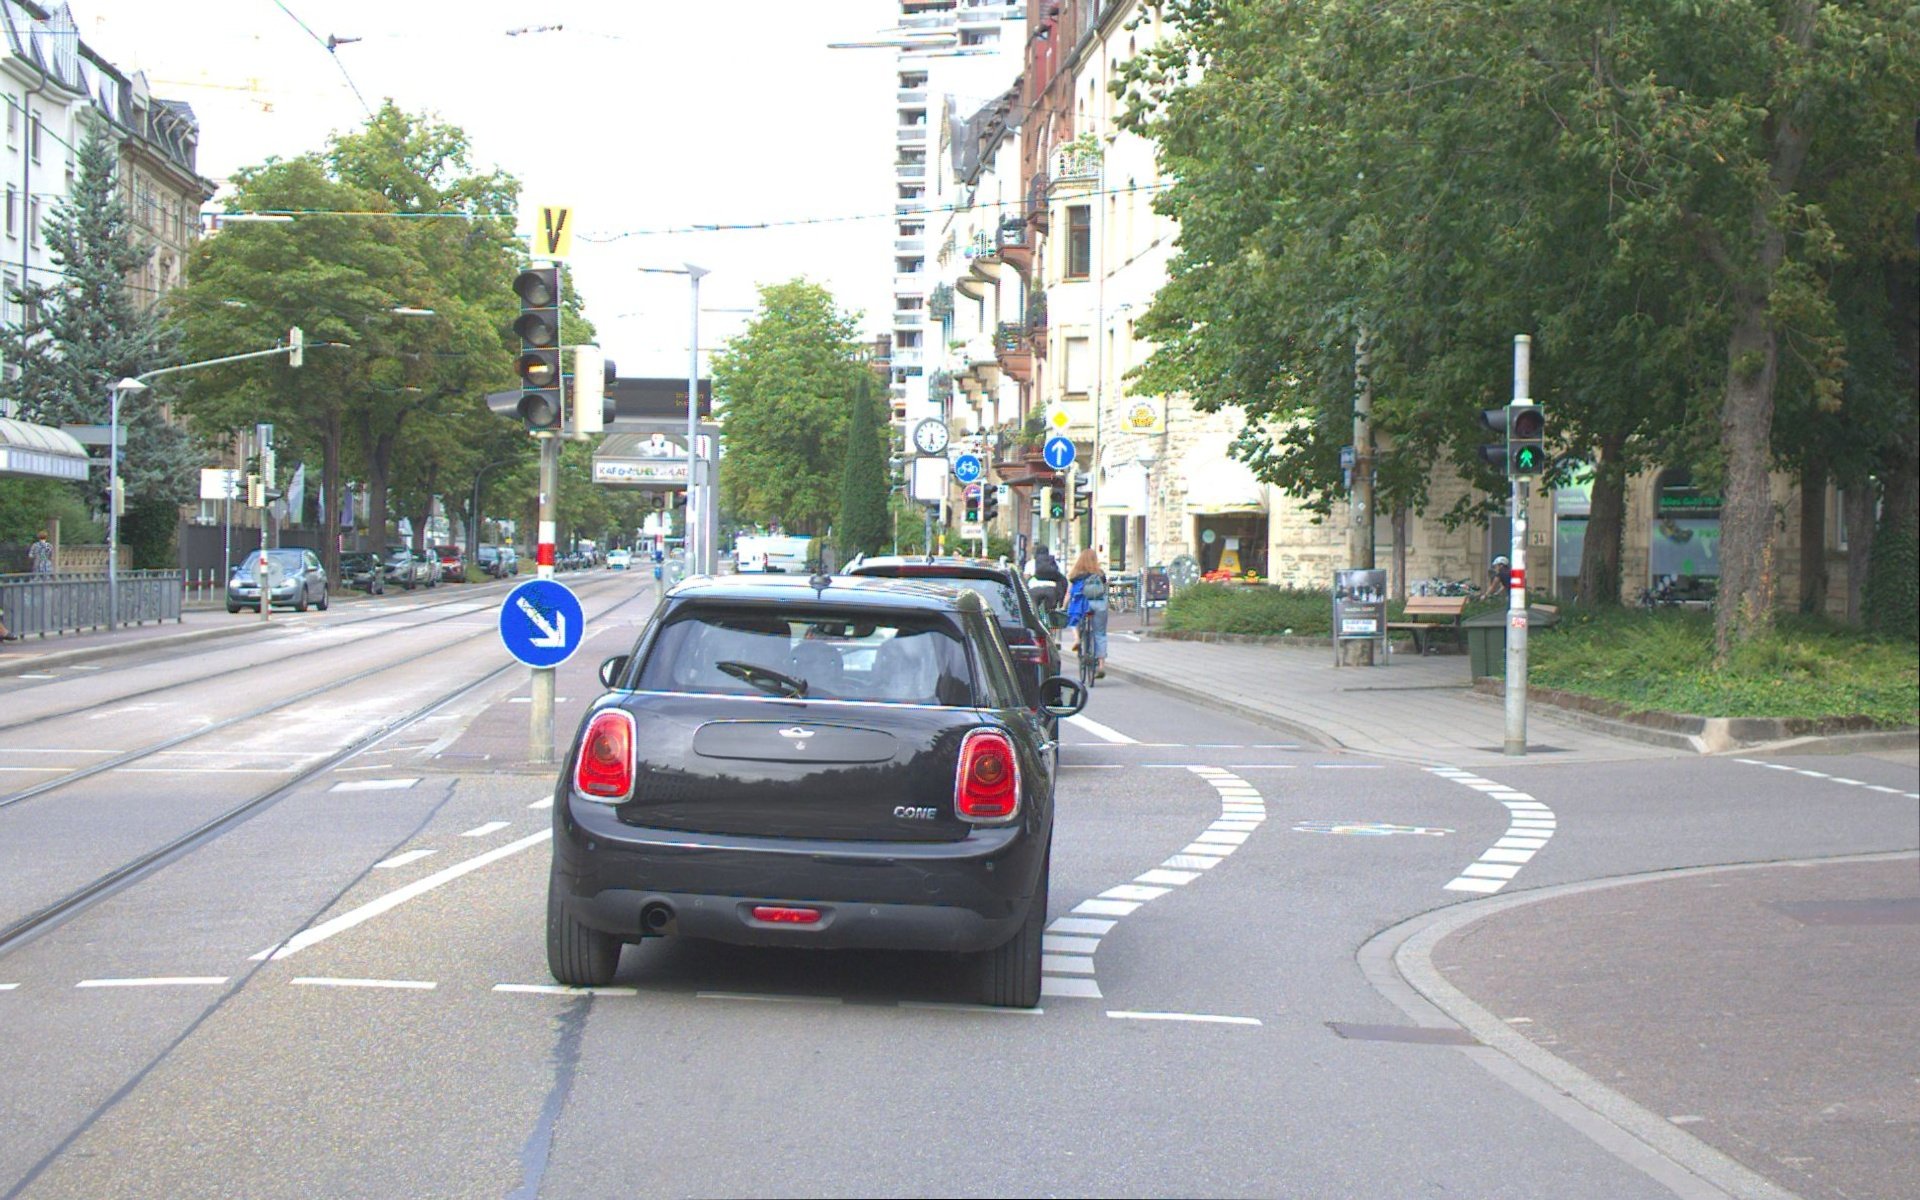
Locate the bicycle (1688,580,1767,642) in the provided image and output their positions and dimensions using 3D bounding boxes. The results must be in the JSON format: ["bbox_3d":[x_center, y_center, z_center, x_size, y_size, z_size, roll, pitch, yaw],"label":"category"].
[{"bbox_3d":[14.217,0.194,63.647,0.667,1.124,1.889,1,1,39],"label":"bicycle"}]

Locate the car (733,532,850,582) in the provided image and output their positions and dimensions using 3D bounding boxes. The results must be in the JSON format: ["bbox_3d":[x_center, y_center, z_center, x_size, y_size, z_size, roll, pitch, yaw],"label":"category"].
[{"bbox_3d":[-7.753,-1.972,158.355,5.026,2.265,2.396,0,1,-44],"label":"car"}]

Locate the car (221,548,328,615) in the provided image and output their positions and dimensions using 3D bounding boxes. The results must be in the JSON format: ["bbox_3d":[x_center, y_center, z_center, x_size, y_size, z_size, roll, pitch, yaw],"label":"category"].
[{"bbox_3d":[-15.864,-0.453,79.690,1.751,1.436,4.000,2,1,-2],"label":"car"}]

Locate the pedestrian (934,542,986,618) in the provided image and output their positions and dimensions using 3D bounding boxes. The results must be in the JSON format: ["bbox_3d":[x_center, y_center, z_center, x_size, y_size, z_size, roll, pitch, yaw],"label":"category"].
[{"bbox_3d":[0.005,-0.461,78.334,0.732,1.668,0.833,-2,2,43],"label":"pedestrian"}]

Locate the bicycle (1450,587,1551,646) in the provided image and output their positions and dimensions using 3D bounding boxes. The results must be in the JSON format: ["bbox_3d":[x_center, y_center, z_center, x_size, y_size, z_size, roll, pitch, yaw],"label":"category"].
[{"bbox_3d":[10.116,0.304,64.432,1.819,1.073,0.615,1,1,42],"label":"bicycle"}]

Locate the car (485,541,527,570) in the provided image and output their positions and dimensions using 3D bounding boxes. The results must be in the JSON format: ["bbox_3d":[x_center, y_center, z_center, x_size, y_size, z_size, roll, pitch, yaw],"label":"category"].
[{"bbox_3d":[-25.236,-2.476,191.079,1.993,1.546,4.001,1,1,-3],"label":"car"}]

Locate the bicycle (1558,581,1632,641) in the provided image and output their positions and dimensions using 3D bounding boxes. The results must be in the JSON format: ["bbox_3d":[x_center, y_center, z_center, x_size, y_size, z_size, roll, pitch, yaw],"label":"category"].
[{"bbox_3d":[12.121,0.196,65.597,0.532,1.124,1.889,1,1,39],"label":"bicycle"}]

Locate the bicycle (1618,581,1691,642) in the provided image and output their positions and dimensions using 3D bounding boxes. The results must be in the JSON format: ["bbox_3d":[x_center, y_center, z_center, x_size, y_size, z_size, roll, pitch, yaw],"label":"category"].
[{"bbox_3d":[13.094,0.213,64.808,0.532,1.124,1.889,1,1,39],"label":"bicycle"}]

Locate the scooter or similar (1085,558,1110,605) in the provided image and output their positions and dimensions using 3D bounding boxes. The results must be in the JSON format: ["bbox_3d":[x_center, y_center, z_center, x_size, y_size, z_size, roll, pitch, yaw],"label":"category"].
[{"bbox_3d":[3.504,-0.473,87.458,0.508,1.184,1.262,0,1,-3],"label":"scooter or similar"}]

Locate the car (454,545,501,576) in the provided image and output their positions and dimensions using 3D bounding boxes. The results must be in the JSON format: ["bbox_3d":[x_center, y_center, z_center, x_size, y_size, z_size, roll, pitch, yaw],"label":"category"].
[{"bbox_3d":[-24.527,-2.022,174.861,1.993,1.546,4.001,1,1,-3],"label":"car"}]

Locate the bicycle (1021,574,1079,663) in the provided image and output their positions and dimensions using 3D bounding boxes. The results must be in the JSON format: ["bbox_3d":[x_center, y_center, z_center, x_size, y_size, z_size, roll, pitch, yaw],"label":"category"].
[{"bbox_3d":[1.212,0.242,46.592,0.684,1.166,1.697,0,1,-2],"label":"bicycle"}]

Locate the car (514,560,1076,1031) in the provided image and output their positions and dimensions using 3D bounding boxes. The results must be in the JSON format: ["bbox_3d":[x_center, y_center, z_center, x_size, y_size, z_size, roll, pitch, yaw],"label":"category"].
[{"bbox_3d":[-0.466,0.605,13.064,1.752,1.436,4.000,2,1,2],"label":"car"}]

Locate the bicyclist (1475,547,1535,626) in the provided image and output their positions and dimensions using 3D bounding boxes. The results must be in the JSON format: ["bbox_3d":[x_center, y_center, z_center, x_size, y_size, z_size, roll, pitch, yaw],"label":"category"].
[{"bbox_3d":[10.196,-0.257,64.356,0.914,1.468,0.615,1,1,42],"label":"bicyclist"}]

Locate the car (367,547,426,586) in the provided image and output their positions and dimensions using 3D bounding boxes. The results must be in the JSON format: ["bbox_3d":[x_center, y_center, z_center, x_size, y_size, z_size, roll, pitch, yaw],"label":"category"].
[{"bbox_3d":[-20.517,-1.243,125.313,1.766,1.390,4.001,1,1,-4],"label":"car"}]

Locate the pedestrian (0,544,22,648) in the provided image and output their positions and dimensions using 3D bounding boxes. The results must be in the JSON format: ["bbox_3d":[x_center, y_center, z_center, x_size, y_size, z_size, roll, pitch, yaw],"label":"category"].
[{"bbox_3d":[-12.388,-0.064,43.171,1.058,1.289,0.986,1,1,-9],"label":"pedestrian"}]

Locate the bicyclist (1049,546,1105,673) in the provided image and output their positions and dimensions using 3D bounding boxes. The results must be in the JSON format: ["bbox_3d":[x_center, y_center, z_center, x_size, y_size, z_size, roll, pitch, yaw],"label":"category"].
[{"bbox_3d":[1.443,0.107,42.629,0.594,1.545,1.014,0,1,-3],"label":"bicyclist"}]

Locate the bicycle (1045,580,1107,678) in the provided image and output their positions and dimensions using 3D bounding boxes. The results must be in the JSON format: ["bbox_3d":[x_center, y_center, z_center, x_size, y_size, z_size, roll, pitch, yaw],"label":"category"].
[{"bbox_3d":[1.435,0.344,42.635,0.598,1.166,1.697,0,1,-3],"label":"bicycle"}]

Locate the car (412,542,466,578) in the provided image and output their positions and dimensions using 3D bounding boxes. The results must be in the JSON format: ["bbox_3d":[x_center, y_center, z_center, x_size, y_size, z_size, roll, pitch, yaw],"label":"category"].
[{"bbox_3d":[-22.999,-1.780,151.937,1.993,1.546,4.001,1,1,-3],"label":"car"}]

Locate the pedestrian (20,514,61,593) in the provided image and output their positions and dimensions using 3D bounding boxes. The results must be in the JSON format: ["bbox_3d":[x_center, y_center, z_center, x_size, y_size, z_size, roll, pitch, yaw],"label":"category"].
[{"bbox_3d":[-20.988,-1.063,78.481,0.730,1.777,0.835,1,1,-3],"label":"pedestrian"}]

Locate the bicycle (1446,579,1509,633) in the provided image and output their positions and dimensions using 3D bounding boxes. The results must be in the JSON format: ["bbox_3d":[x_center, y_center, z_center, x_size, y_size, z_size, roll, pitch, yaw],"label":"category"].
[{"bbox_3d":[10.207,0.114,67.731,0.449,1.051,1.645,1,1,39],"label":"bicycle"}]

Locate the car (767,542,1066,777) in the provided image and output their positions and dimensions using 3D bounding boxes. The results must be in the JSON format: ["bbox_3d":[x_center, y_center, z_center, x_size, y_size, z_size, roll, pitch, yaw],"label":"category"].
[{"bbox_3d":[-0.333,0.359,24.325,1.927,1.504,4.000,1,1,-2],"label":"car"}]

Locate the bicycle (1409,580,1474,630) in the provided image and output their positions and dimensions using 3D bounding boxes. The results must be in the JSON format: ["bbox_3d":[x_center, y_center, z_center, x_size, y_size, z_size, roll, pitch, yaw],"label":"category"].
[{"bbox_3d":[9.656,0.093,68.852,0.602,0.969,1.669,1,1,34],"label":"bicycle"}]

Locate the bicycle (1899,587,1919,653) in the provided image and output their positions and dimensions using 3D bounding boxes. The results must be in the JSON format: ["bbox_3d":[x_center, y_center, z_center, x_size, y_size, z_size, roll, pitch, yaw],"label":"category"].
[{"bbox_3d":[17.268,0.336,60.110,1.888,1.124,0.533,-1,2,-34],"label":"bicycle"}]

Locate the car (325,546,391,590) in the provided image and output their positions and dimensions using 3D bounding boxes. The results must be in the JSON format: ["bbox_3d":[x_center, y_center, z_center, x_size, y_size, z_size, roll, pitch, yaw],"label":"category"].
[{"bbox_3d":[-19.830,-1.059,113.306,1.766,1.390,4.001,1,1,-4],"label":"car"}]

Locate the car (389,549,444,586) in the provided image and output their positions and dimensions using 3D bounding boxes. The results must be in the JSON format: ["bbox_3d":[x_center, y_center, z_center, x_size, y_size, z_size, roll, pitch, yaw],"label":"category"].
[{"bbox_3d":[-20.995,-1.254,132.974,1.766,1.390,4.001,1,1,-4],"label":"car"}]

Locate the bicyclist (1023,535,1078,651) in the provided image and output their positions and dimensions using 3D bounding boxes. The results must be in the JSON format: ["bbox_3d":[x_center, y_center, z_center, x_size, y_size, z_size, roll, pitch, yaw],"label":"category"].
[{"bbox_3d":[1.220,-0.104,46.582,0.684,1.558,0.998,0,1,-2],"label":"bicyclist"}]

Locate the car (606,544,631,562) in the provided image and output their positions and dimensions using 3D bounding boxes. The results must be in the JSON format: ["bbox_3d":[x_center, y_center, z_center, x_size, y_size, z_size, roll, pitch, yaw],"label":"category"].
[{"bbox_3d":[-25.649,-3.532,258.352,1.766,1.390,4.001,1,1,-4],"label":"car"}]
